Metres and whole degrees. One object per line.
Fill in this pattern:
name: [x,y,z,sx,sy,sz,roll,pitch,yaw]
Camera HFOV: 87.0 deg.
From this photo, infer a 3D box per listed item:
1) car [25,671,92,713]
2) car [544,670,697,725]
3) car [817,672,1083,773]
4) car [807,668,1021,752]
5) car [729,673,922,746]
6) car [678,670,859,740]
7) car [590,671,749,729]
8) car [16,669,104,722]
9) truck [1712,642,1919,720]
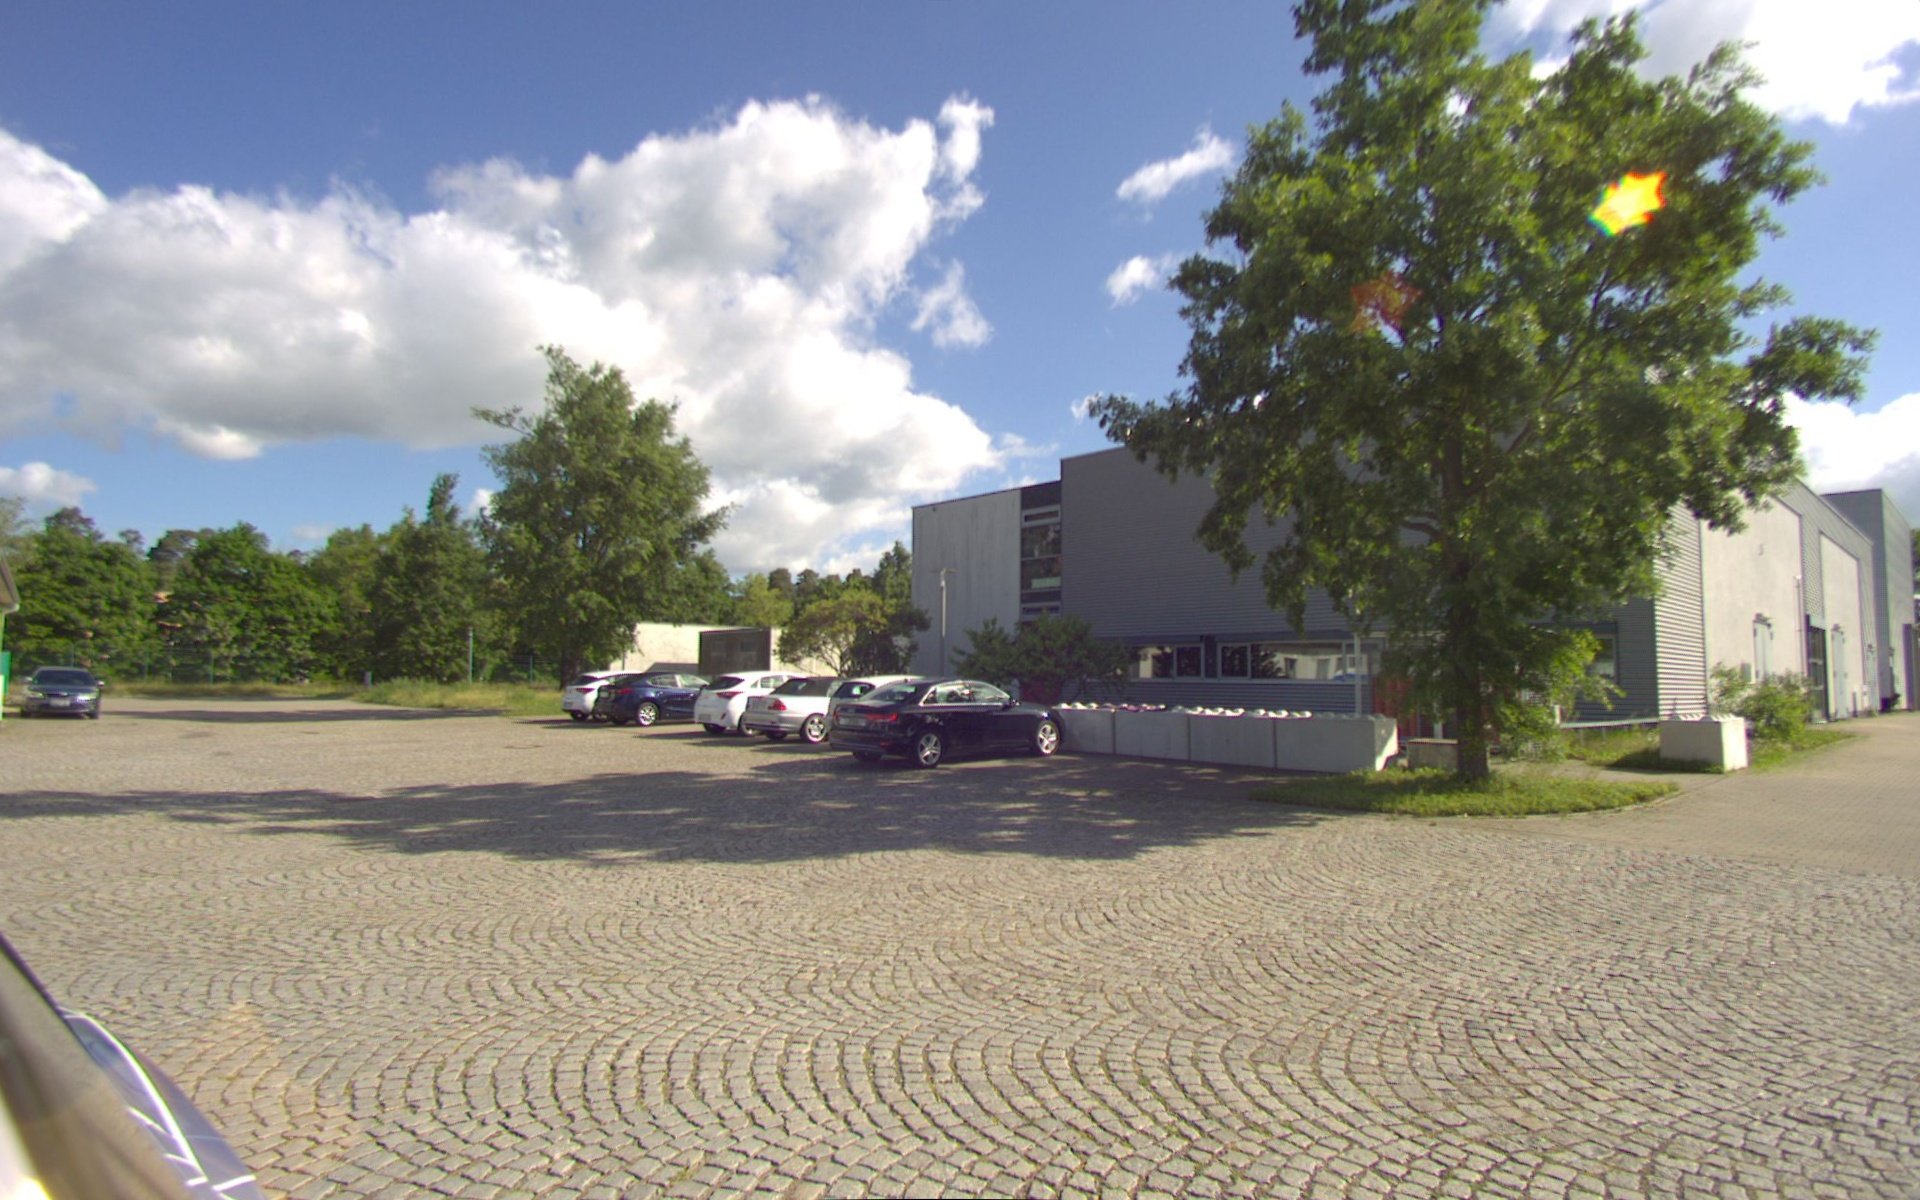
car: [-32.940,3.360,37.034,1.666,1.446,3.992,5,-7,-41]
car: [-9.894,2.810,29.654,3.864,1.446,1.798,2,-5,-41]
car: [-0.052,2.013,17.518,4.662,1.434,1.758,3,-5,-43]
car: [-0.867,2.154,20.475,4.084,1.471,1.695,2,-5,-37]
car: [-2.871,2.317,21.975,3.864,1.382,1.730,2,-5,-42]
car: [-4.480,2.434,23.991,3.864,1.458,1.758,2,-5,-42]
car: [-7.940,2.701,27.840,3.864,1.428,1.694,2,-5,-42]
car: [-26.442,2.791,29.773,1.742,1.446,3.997,5,-7,-41]
truck: [45.498,4.329,53.989,2.609,3.847,8.113,5,-7,-41]
